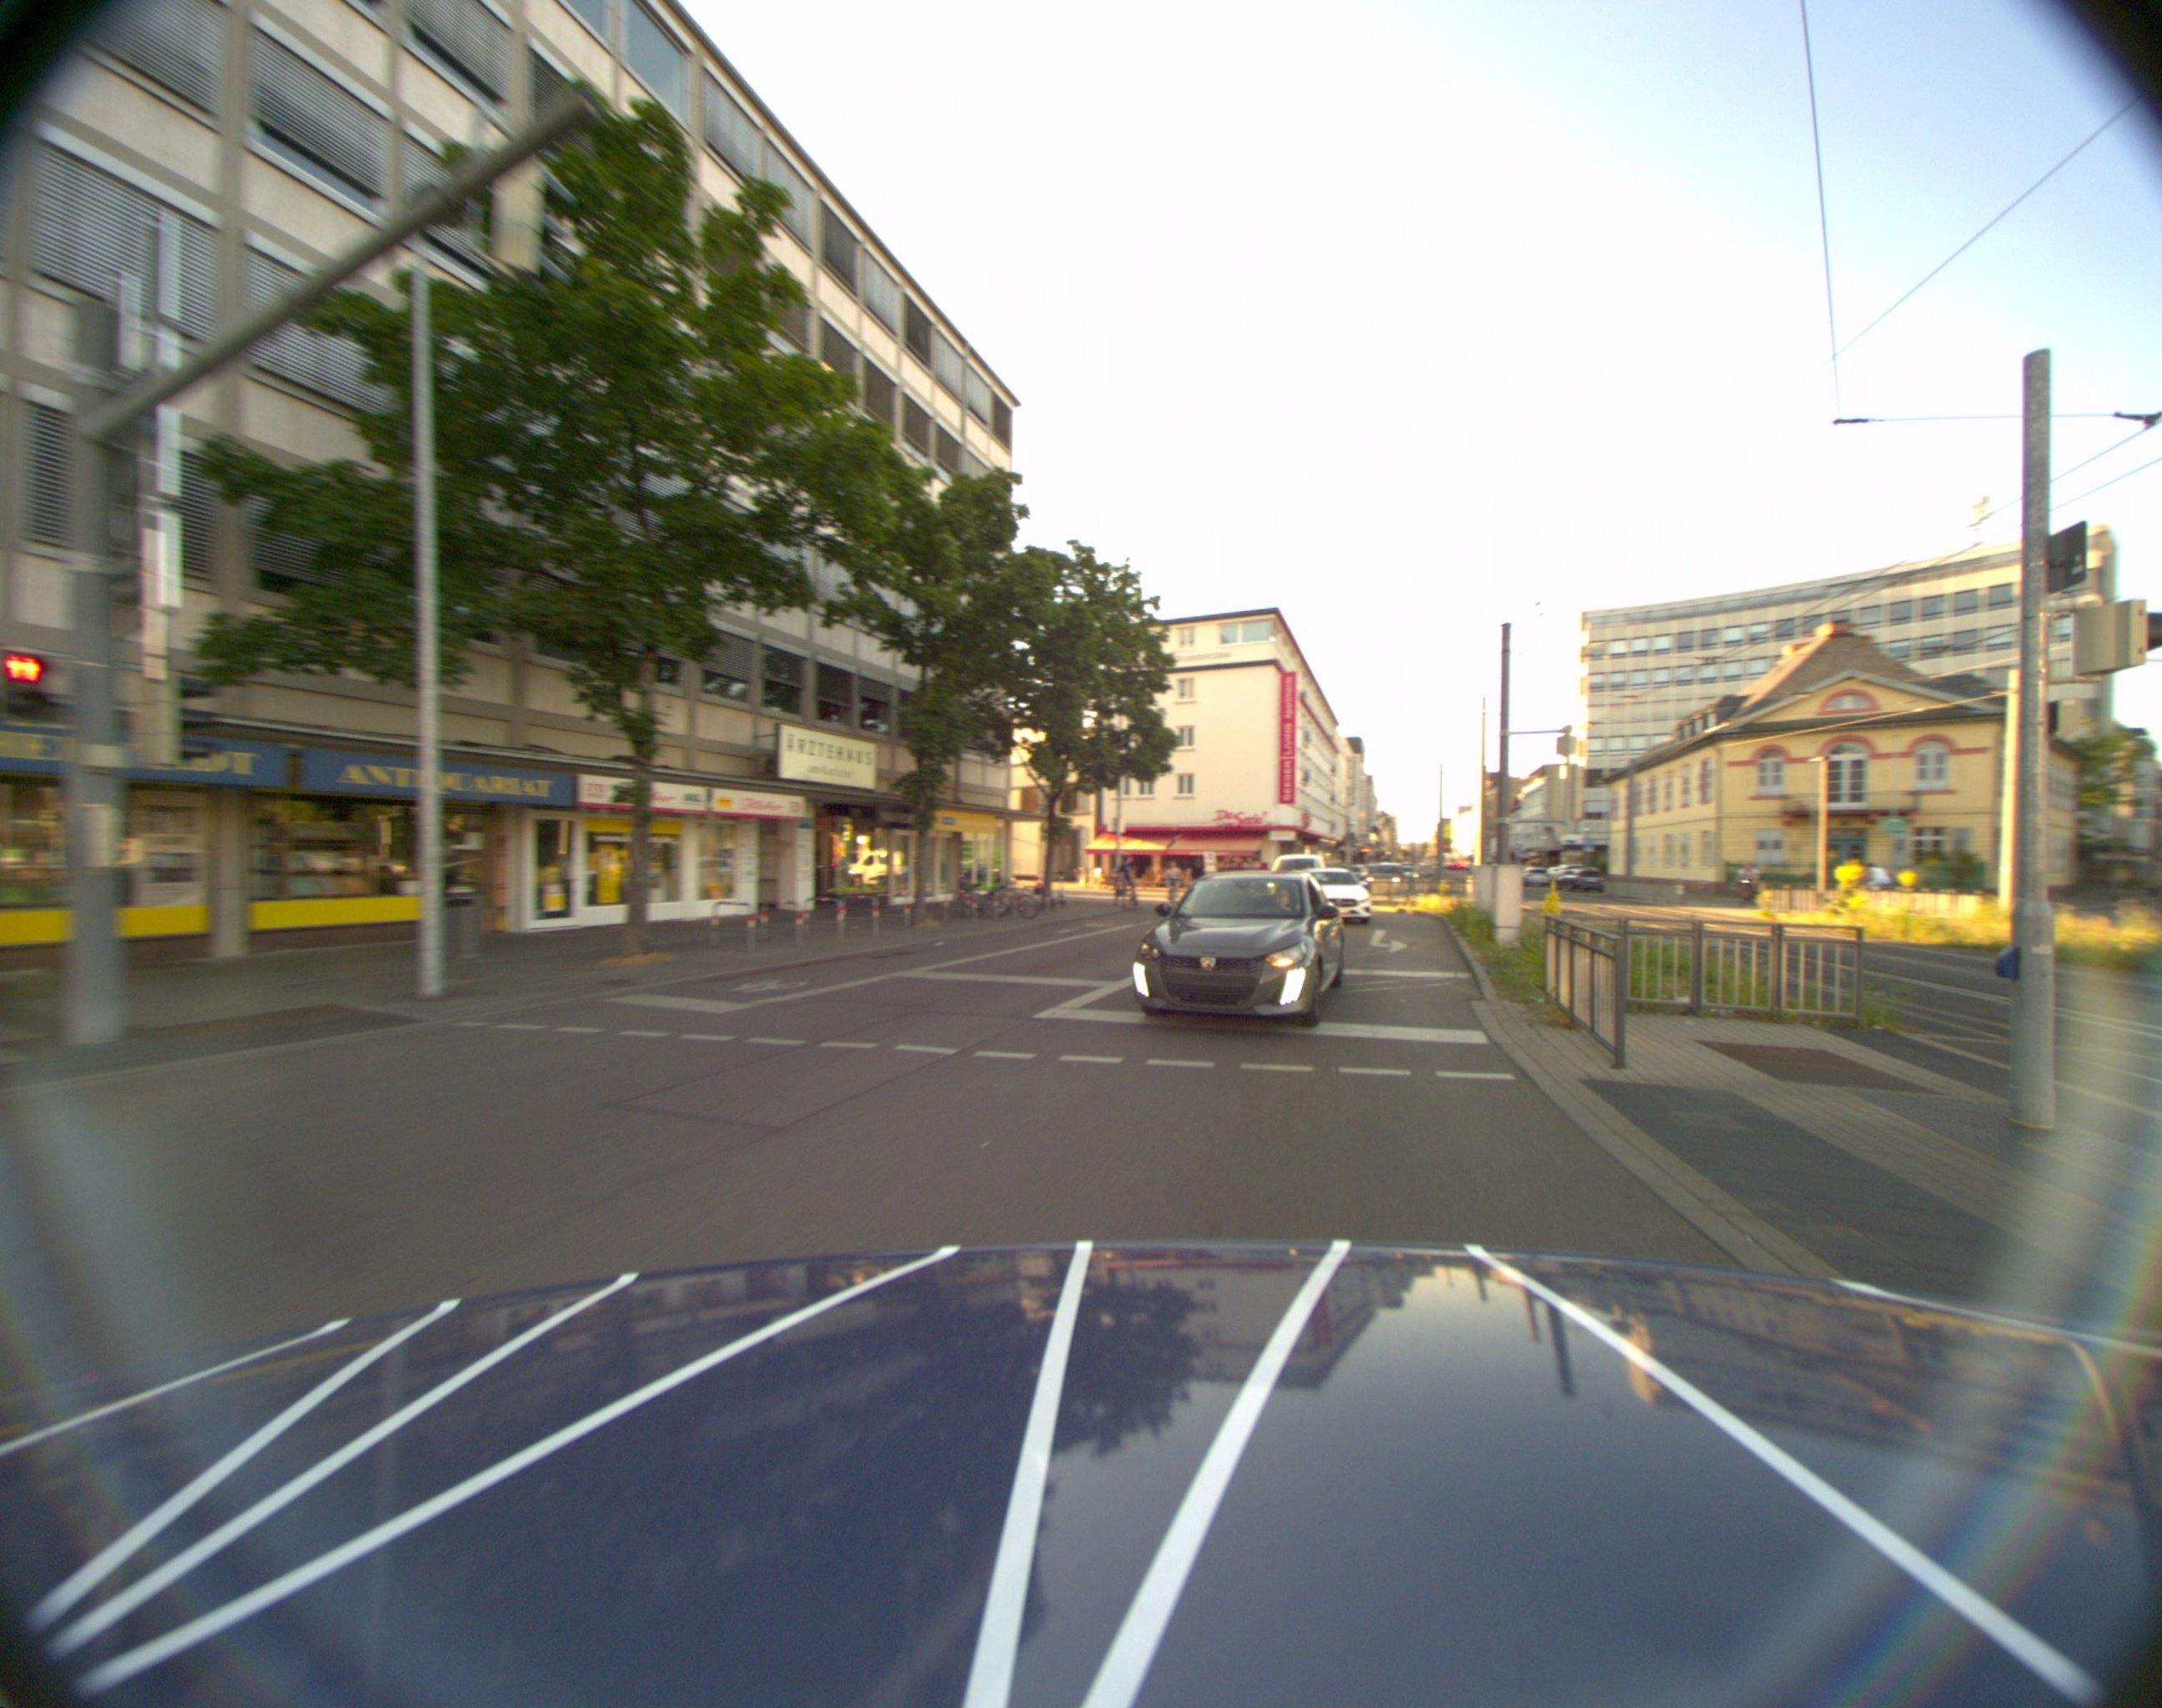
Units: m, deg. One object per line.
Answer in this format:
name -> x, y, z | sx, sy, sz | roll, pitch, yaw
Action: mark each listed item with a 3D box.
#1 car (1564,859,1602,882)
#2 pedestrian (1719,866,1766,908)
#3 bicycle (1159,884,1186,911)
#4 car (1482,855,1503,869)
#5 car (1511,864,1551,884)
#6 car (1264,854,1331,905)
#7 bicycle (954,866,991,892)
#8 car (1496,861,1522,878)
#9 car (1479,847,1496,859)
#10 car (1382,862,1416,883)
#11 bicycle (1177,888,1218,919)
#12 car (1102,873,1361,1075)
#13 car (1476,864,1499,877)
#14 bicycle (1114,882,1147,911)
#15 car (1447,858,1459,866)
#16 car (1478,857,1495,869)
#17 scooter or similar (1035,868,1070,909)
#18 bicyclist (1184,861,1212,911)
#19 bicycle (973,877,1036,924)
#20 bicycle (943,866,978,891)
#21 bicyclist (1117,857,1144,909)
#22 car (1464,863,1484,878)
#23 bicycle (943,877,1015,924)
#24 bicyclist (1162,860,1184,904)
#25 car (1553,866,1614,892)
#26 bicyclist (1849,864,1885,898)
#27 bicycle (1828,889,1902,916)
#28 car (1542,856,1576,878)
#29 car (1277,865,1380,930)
car -> 39.360, 1.252, 59.622 | 1.733, 1.698, 3.445 | 1, 0, 21
pedestrian -> 24.619, 1.208, 28.281 | 1.006, 1.494, 1.042 | 1, 0, -30
bicycle -> 3.081, 1.465, 25.711 | 0.600, 0.820, 1.739 | 1, 0, -4
car -> 59.921, 1.149, 110.594 | 1.996, 1.936, 4.006 | 1, 0, 18
car -> 34.878, 1.520, 59.018 | 1.911, 1.402, 4.344 | 1, 0, 20
car -> 8.633, 0.972, 30.019 | 1.996, 1.827, 4.885 | 0, -1, 22
bicycle -> -5.143, 1.178, 36.049 | 0.553, 1.179, 1.785 | 1, -2, 40
car -> 42.628, 1.513, 75.755 | 1.835, 1.589, 4.079 | 0, 0, 23
car -> 71.438, -0.200, 133.544 | 1.996, 2.002, 4.006 | -2, 0, 18
car -> 24.087, 1.369, 57.459 | 2.035, 1.432, 4.670 | 2, 0, 26
bicycle -> 3.518, 1.480, 23.081 | 0.615, 0.820, 1.803 | 1, 0, -12
car -> 2.007, 1.020, 8.591 | 1.912, 1.494, 4.710 | 1, 0, 23
car -> 48.069, 1.949, 89.922 | 2.014, 1.420, 4.664 | 0, 0, 23
bicycle -> 1.682, 1.414, 25.629 | 0.674, 0.896, 1.693 | 1, 0, 20
car -> 80.398, 1.704, 164.296 | 1.845, 1.499, 4.006 | 1, 0, 18
car -> 68.039, 1.547, 127.446 | 1.995, 1.936, 4.007 | 1, -1, 20
scooter or similar -> -0.949, 1.128, 25.285 | 0.516, 1.314, 1.277 | 0, 0, -37
bicyclist -> 3.555, 0.952, 23.082 | 0.614, 1.478, 0.717 | 1, 0, -12
bicycle -> -2.103, 1.253, 20.895 | 1.633, 1.178, 0.539 | 2, 1, 23
bicycle -> -5.831, 1.197, 36.876 | 0.538, 1.179, 1.722 | 1, -2, 40
bicyclist -> 1.676, 0.972, 25.595 | 0.664, 1.717, 0.811 | 1, 1, 20
car -> 55.469, 2.270, 107.284 | 1.995, 1.978, 4.126 | 1, 0, 21
bicycle -> -2.693, 1.211, 20.085 | 1.742, 1.133, 0.667 | 2, 1, 16
bicyclist -> 3.094, 0.939, 25.660 | 0.588, 1.478, 0.718 | 1, 0, -5
car -> 31.498, 1.539, 47.777 | 1.996, 1.507, 4.420 | -2, 0, 17
bicyclist -> 29.562, 1.015, 28.596 | 0.669, 1.250, 0.727 | 1, 0, -22
bicycle -> 29.519, 1.806, 28.646 | 0.681, 0.887, 1.793 | 0, 1, -23
car -> 40.639, 1.083, 64.665 | 1.733, 1.698, 3.811 | 2, 1, 21
car -> 6.647, 1.085, 20.886 | 1.814, 1.441, 4.565 | 0, 1, 7
